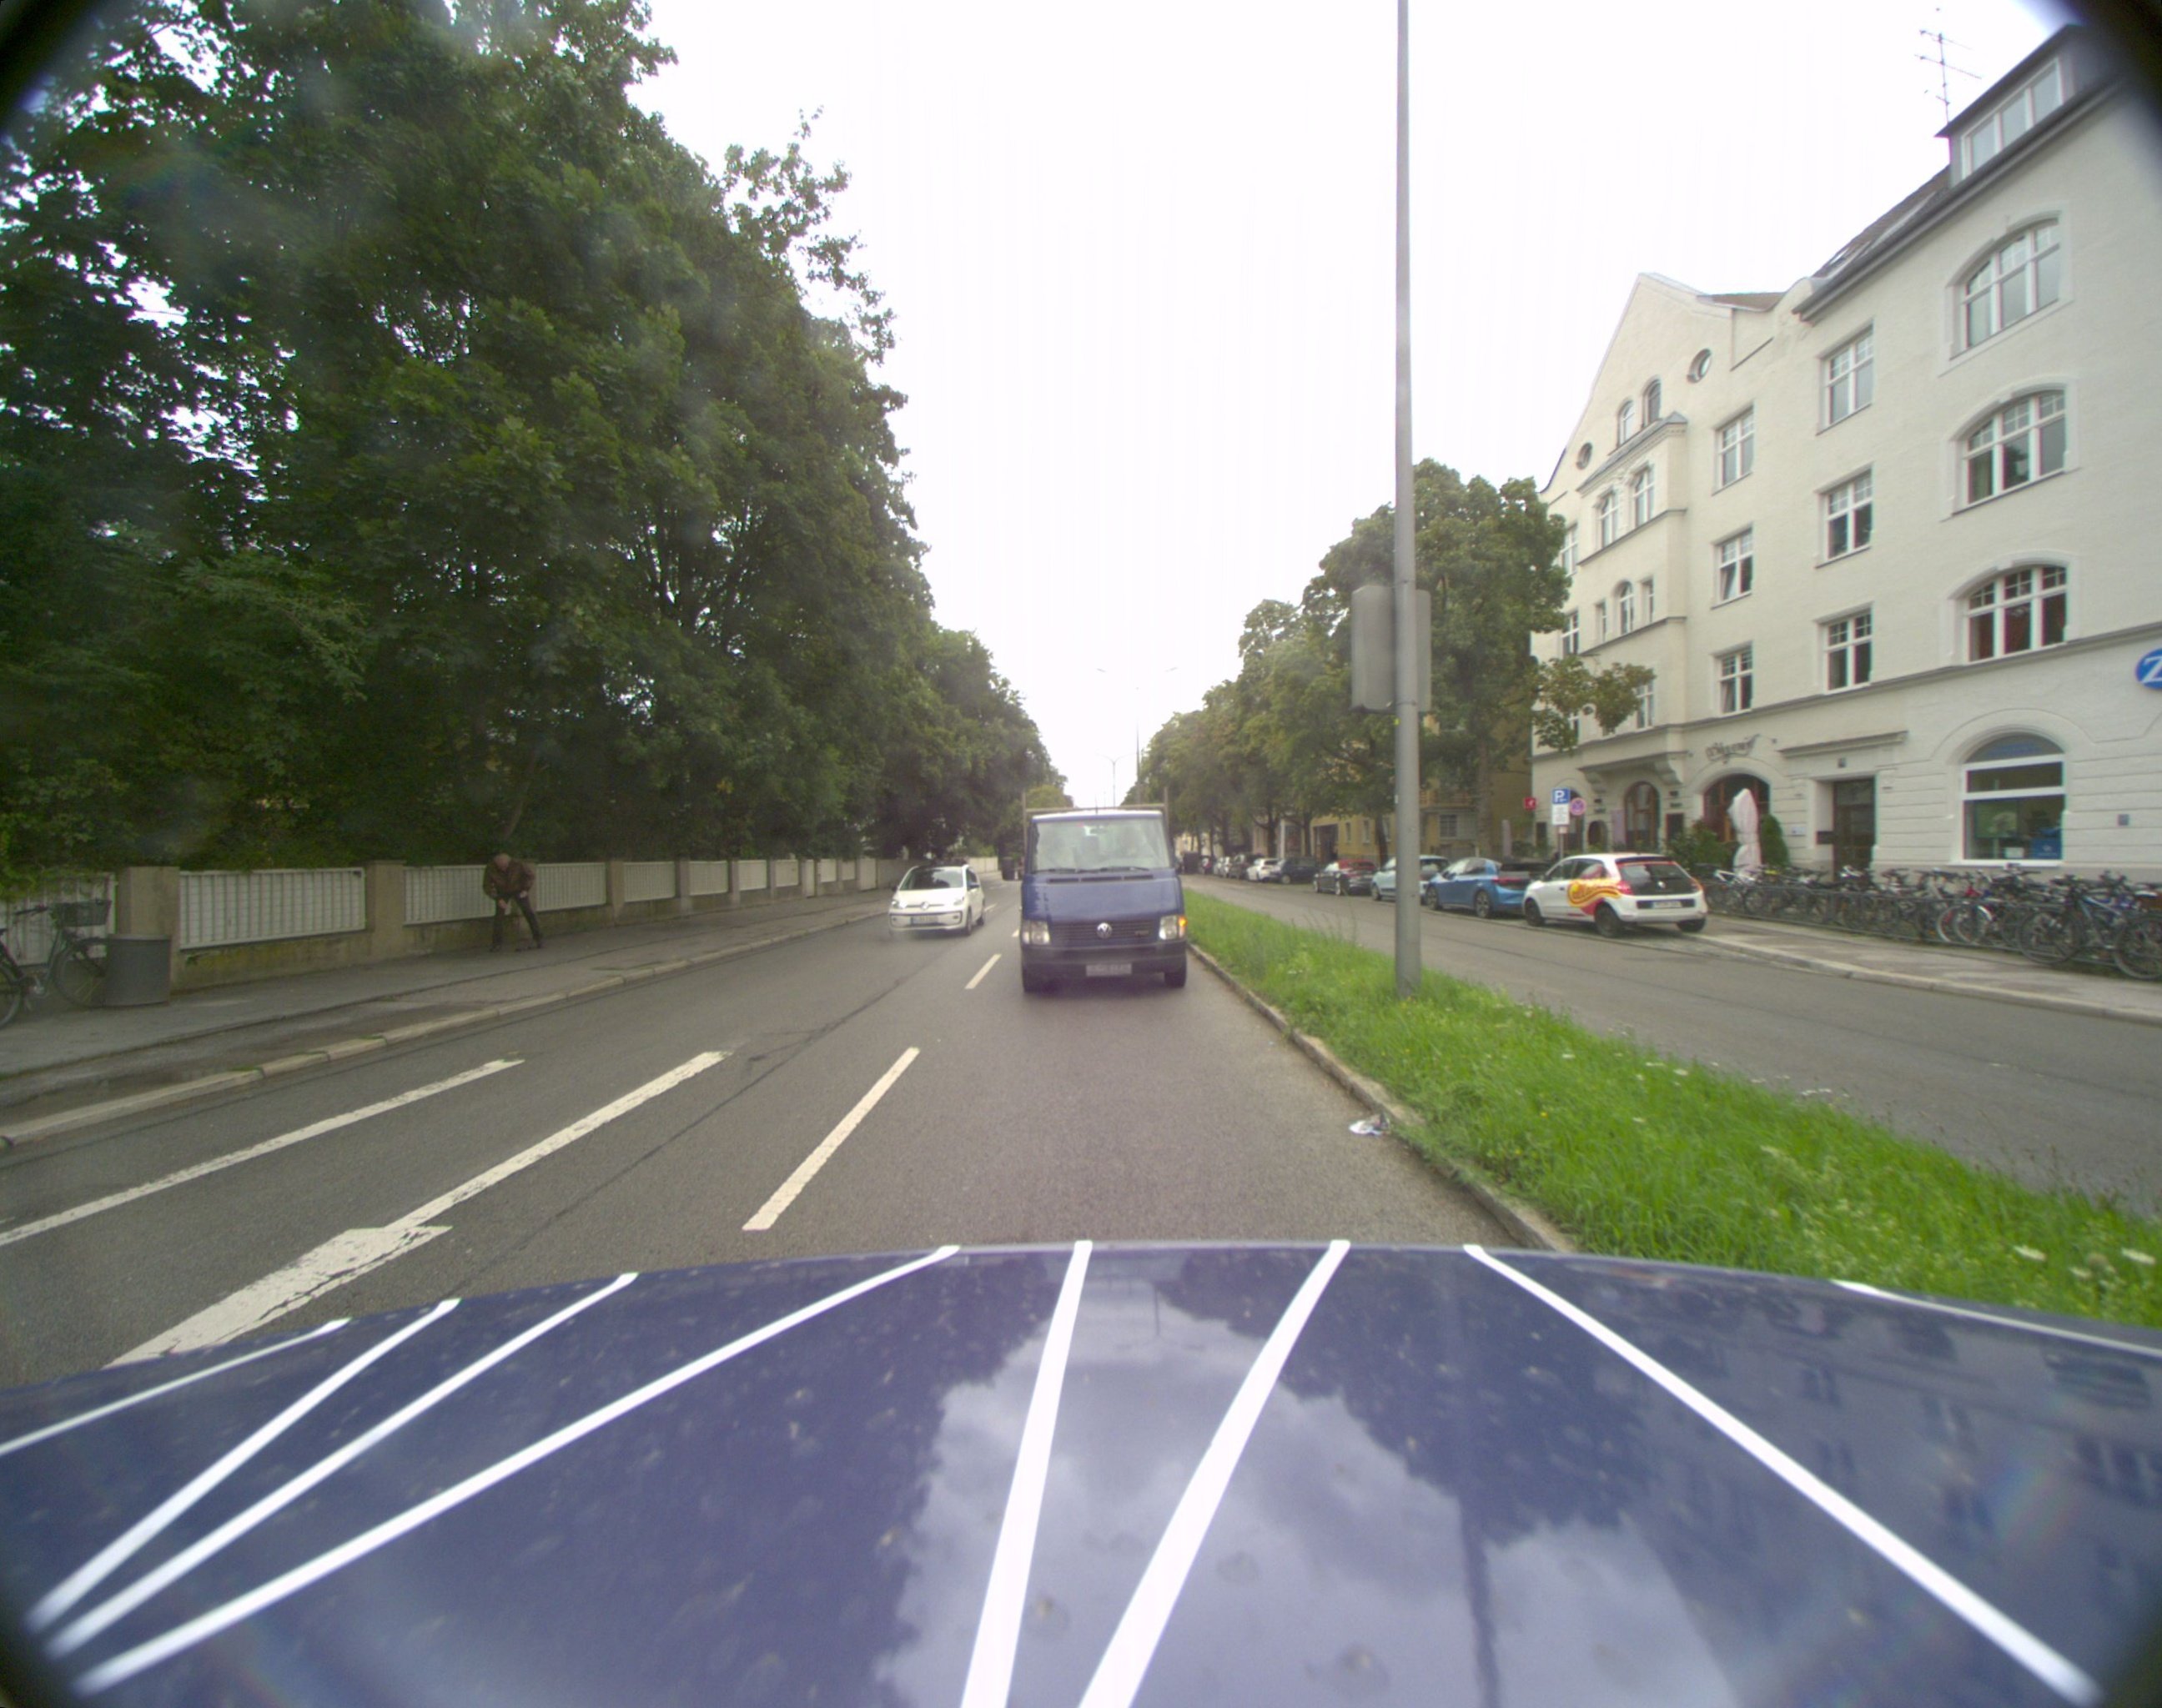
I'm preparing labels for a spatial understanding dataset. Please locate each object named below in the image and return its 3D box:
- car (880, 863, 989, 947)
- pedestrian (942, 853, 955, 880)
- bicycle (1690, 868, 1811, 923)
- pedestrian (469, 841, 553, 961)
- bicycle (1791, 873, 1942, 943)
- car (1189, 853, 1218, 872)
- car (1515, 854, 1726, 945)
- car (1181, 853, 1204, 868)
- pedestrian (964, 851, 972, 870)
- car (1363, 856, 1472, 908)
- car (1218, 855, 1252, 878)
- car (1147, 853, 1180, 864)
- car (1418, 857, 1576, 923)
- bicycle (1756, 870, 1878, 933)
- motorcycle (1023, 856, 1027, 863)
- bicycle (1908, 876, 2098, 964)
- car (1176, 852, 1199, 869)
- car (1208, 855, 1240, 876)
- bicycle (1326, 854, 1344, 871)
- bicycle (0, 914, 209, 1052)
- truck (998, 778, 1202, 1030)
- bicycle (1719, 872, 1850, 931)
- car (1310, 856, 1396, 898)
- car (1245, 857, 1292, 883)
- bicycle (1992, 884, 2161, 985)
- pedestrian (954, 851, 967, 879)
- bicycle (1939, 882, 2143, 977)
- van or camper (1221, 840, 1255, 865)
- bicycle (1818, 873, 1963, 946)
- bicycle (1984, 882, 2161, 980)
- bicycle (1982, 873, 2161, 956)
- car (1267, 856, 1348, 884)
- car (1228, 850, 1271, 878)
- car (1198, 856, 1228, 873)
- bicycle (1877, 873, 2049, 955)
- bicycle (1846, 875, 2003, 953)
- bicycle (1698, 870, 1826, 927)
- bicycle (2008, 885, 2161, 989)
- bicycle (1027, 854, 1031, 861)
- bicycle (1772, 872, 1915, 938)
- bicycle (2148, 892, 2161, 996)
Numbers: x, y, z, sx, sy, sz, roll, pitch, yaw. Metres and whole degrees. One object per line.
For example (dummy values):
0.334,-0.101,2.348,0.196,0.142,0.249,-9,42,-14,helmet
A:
-3.039,0.999,16.440,1.647,1.553,3.586,-1,0,0,car
-8.256,0.780,47.340,0.668,1.695,0.766,1,1,0,pedestrian
14.735,0.878,16.790,0.460,1.109,1.961,-1,0,-31,bicycle
-9.457,0.764,12.637,0.779,1.931,0.802,0,1,1,pedestrian
13.822,0.921,13.449,0.331,1.109,1.871,-1,0,-23,bicycle
11.246,0.757,69.935,1.883,1.636,4.770,-1,0,1,car
10.567,0.803,15.252,1.653,1.576,3.790,-1,0,2,car
11.108,0.661,76.012,1.696,1.446,4.492,-1,0,1,car
-9.524,0.527,63.862,0.529,1.572,0.729,1,1,0,pedestrian
10.842,0.850,24.782,1.815,1.498,3.960,-1,0,1,car
11.086,0.863,54.937,1.731,1.548,3.009,-1,0,-1,car
11.003,0.601,101.328,3.989,1.367,1.866,-2,-1,32,car
10.696,0.850,19.947,1.815,1.498,4.291,-1,0,1,car
14.213,0.888,14.730,0.331,1.109,1.677,-1,0,-27,bicycle
-8.908,0.862,121.510,0.497,1.135,1.631,-1,0,-10,motorcycle
13.009,0.894,10.795,0.383,1.109,1.678,-1,0,-23,bicycle
11.315,0.676,80.885,1.878,1.677,4.438,-1,0,1,car
11.073,0.845,58.954,1.731,1.552,4.057,-1,0,1,car
19.335,0.652,57.867,0.771,1.215,1.930,-1,0,0,bicycle
-9.847,1.206,7.276,0.624,1.084,2.026,-1,0,0,bicycle
0.229,0.493,10.126,1.998,2.475,5.151,-1,0,1,truck
14.289,0.933,15.496,0.550,1.109,1.877,-1,0,-31,bicycle
10.743,0.870,30.421,1.815,1.498,4.645,-1,0,1,car
10.958,0.891,44.694,1.731,1.394,4.404,-1,0,1,car
12.368,0.955,9.211,0.331,1.109,1.678,-1,0,-23,bicycle
-7.542,0.686,47.401,0.668,1.683,0.729,1,1,0,pedestrian
12.843,0.966,10.241,0.331,1.109,1.678,-1,0,-23,bicycle
17.198,-0.133,83.609,2.351,2.564,6.851,-1,0,1,van or camper
13.620,0.896,12.847,0.331,1.109,1.678,-1,0,-23,bicycle
12.669,0.929,9.538,0.367,1.109,1.678,-1,0,-23,bicycle
14.771,0.864,11.344,0.331,1.109,1.678,-1,0,-23,bicycle
12.276,0.869,41.367,3.899,1.455,1.732,1,0,-1,car
11.134,0.635,50.450,1.815,1.718,4.767,-1,0,1,car
11.080,0.863,63.985,1.731,1.398,4.363,-1,0,1,car
13.235,0.867,11.466,0.331,1.109,1.678,-1,0,-23,bicycle
13.447,0.919,12.177,0.331,1.109,1.678,-1,0,-23,bicycle
14.494,0.910,16.236,0.505,1.109,1.984,-1,0,-31,bicycle
12.106,0.950,8.815,0.368,1.109,1.678,-1,0,-23,bicycle
-8.776,0.620,129.060,0.490,1.092,1.631,-1,0,-10,bicycle
14.008,0.905,14.028,0.331,1.109,1.871,-1,0,-23,bicycle
12.098,0.975,7.569,0.331,1.109,1.678,-1,0,-23,bicycle
